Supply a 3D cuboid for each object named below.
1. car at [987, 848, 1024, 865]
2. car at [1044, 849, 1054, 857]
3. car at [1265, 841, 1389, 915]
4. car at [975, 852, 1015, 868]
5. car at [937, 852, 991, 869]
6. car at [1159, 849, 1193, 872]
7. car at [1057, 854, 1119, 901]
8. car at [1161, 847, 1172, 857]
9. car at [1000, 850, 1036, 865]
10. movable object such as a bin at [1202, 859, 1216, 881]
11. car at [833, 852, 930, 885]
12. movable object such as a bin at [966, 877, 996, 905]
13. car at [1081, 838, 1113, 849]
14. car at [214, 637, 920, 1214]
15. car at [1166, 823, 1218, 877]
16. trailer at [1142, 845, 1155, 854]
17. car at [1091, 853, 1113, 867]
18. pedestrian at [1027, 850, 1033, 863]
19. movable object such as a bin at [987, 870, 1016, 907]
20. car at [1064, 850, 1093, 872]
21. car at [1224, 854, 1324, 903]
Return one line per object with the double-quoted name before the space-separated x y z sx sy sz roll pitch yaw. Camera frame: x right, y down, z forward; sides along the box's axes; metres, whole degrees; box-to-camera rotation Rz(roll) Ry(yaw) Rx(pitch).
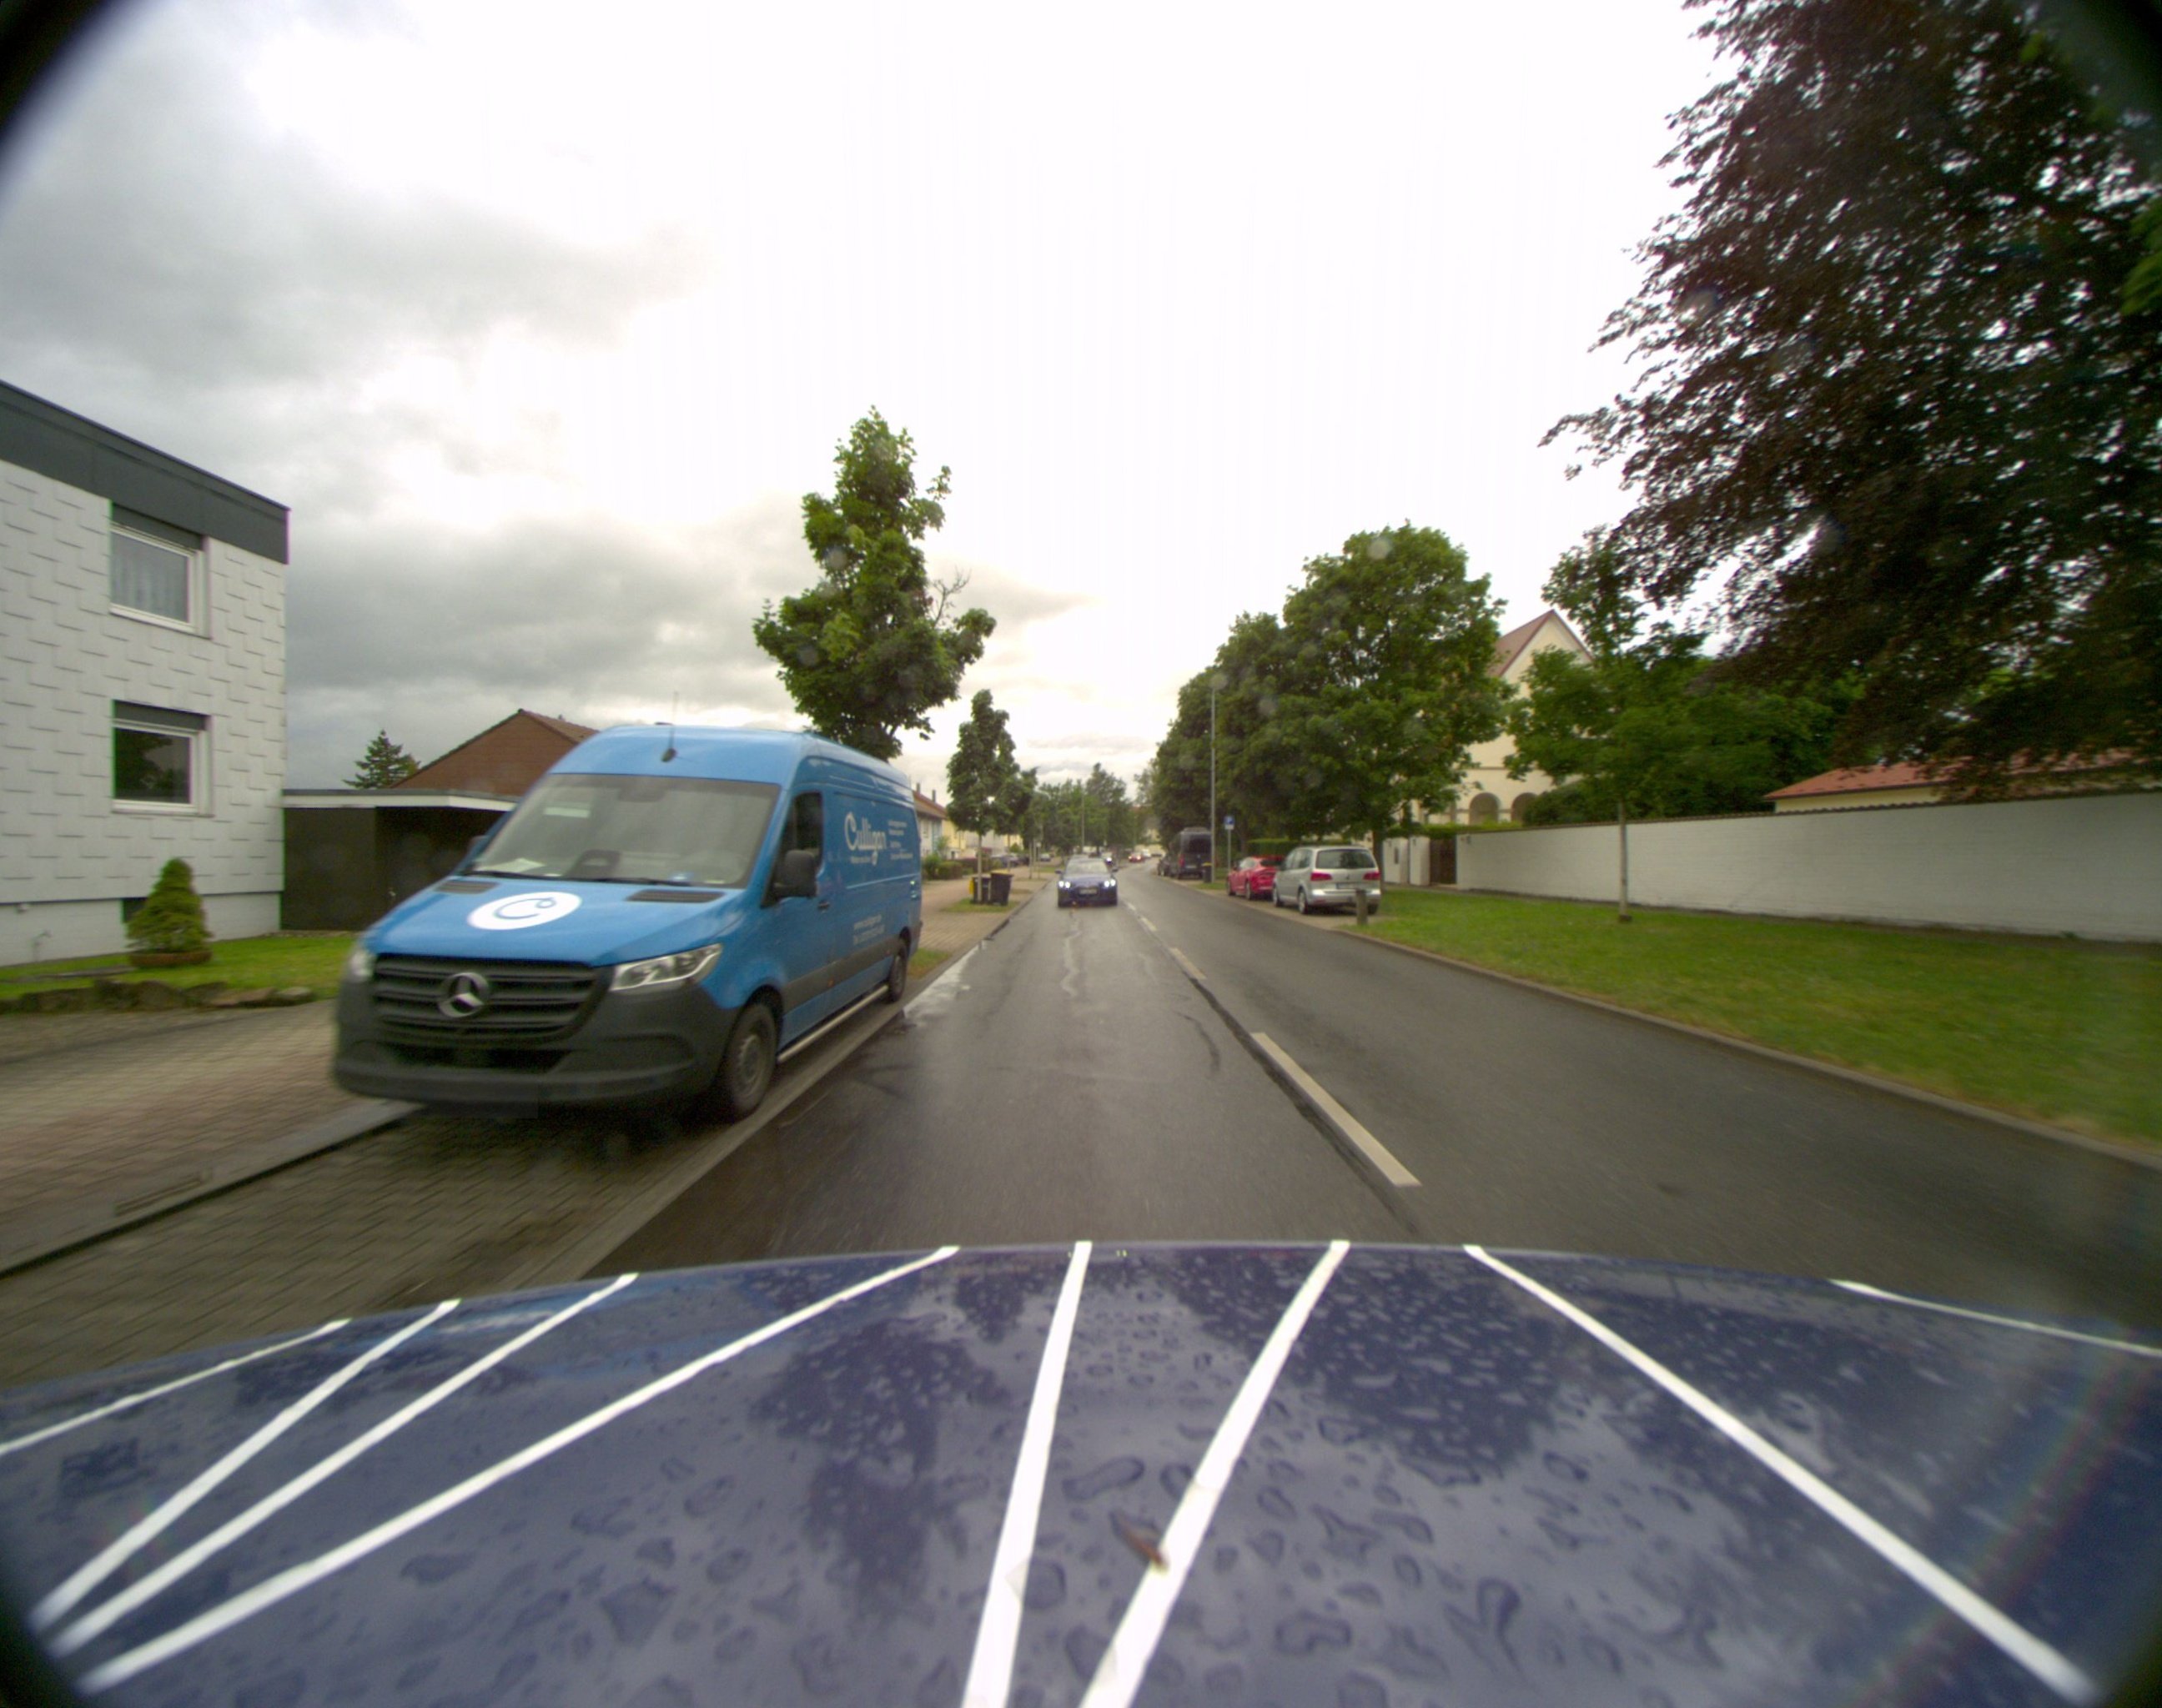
"car" -8.704 0.264 87.359 4.192 1.662 1.720 -3 1 -7
"car" -5.856 -0.197 139.857 1.691 1.501 3.826 -1 1 1
"car" 6.004 0.528 19.046 1.761 1.618 4.232 -1 0 1
"car" -9.117 0.640 80.569 3.998 1.378 1.675 -5 -2 -4
"car" -9.945 0.574 64.551 4.319 1.253 1.677 -2 0 -13
"car" 6.083 0.404 48.958 1.727 1.400 3.825 0 1 -1
"car" 0.171 0.782 26.200 1.913 1.425 4.301 -2 -1 -1
"car" 13.087 -0.272 116.669 1.597 1.455 3.453 -1 0 4
"car" -7.689 0.427 92.550 4.190 1.662 1.991 -1 1 0
"movable object such as a bin" 5.634 0.701 33.519 0.559 0.948 0.549 -1 1 3
"car" -9.225 0.656 35.337 3.997 1.434 1.847 0 1 0
"movable object such as a bin" -3.073 1.126 23.421 0.659 0.796 0.602 3 2 25
"car" 3.147 -2.060 148.488 5.824 2.002 2.003 0 1 24
"car" -2.918 0.330 6.250 1.999 2.571 5.632 1 0 -1
"car" 6.138 -0.172 42.666 1.998 2.712 5.938 -2 -1 0
"trailer" 12.768 -0.899 144.144 1.998 1.534 4.425 0 1 1
"car" 2.524 0.703 92.244 1.842 1.541 3.996 -1 1 -9
"pedestrian" -6.104 0.257 91.362 0.666 1.549 0.842 -1 1 -5
"movable object such as a bin" -2.374 1.017 22.657 0.614 1.009 0.563 5 3 25
"car" -0.244 0.465 54.457 1.841 1.440 3.998 -1 1 -4
"car" 6.073 0.713 24.459 1.999 1.395 4.556 -1 0 -1
